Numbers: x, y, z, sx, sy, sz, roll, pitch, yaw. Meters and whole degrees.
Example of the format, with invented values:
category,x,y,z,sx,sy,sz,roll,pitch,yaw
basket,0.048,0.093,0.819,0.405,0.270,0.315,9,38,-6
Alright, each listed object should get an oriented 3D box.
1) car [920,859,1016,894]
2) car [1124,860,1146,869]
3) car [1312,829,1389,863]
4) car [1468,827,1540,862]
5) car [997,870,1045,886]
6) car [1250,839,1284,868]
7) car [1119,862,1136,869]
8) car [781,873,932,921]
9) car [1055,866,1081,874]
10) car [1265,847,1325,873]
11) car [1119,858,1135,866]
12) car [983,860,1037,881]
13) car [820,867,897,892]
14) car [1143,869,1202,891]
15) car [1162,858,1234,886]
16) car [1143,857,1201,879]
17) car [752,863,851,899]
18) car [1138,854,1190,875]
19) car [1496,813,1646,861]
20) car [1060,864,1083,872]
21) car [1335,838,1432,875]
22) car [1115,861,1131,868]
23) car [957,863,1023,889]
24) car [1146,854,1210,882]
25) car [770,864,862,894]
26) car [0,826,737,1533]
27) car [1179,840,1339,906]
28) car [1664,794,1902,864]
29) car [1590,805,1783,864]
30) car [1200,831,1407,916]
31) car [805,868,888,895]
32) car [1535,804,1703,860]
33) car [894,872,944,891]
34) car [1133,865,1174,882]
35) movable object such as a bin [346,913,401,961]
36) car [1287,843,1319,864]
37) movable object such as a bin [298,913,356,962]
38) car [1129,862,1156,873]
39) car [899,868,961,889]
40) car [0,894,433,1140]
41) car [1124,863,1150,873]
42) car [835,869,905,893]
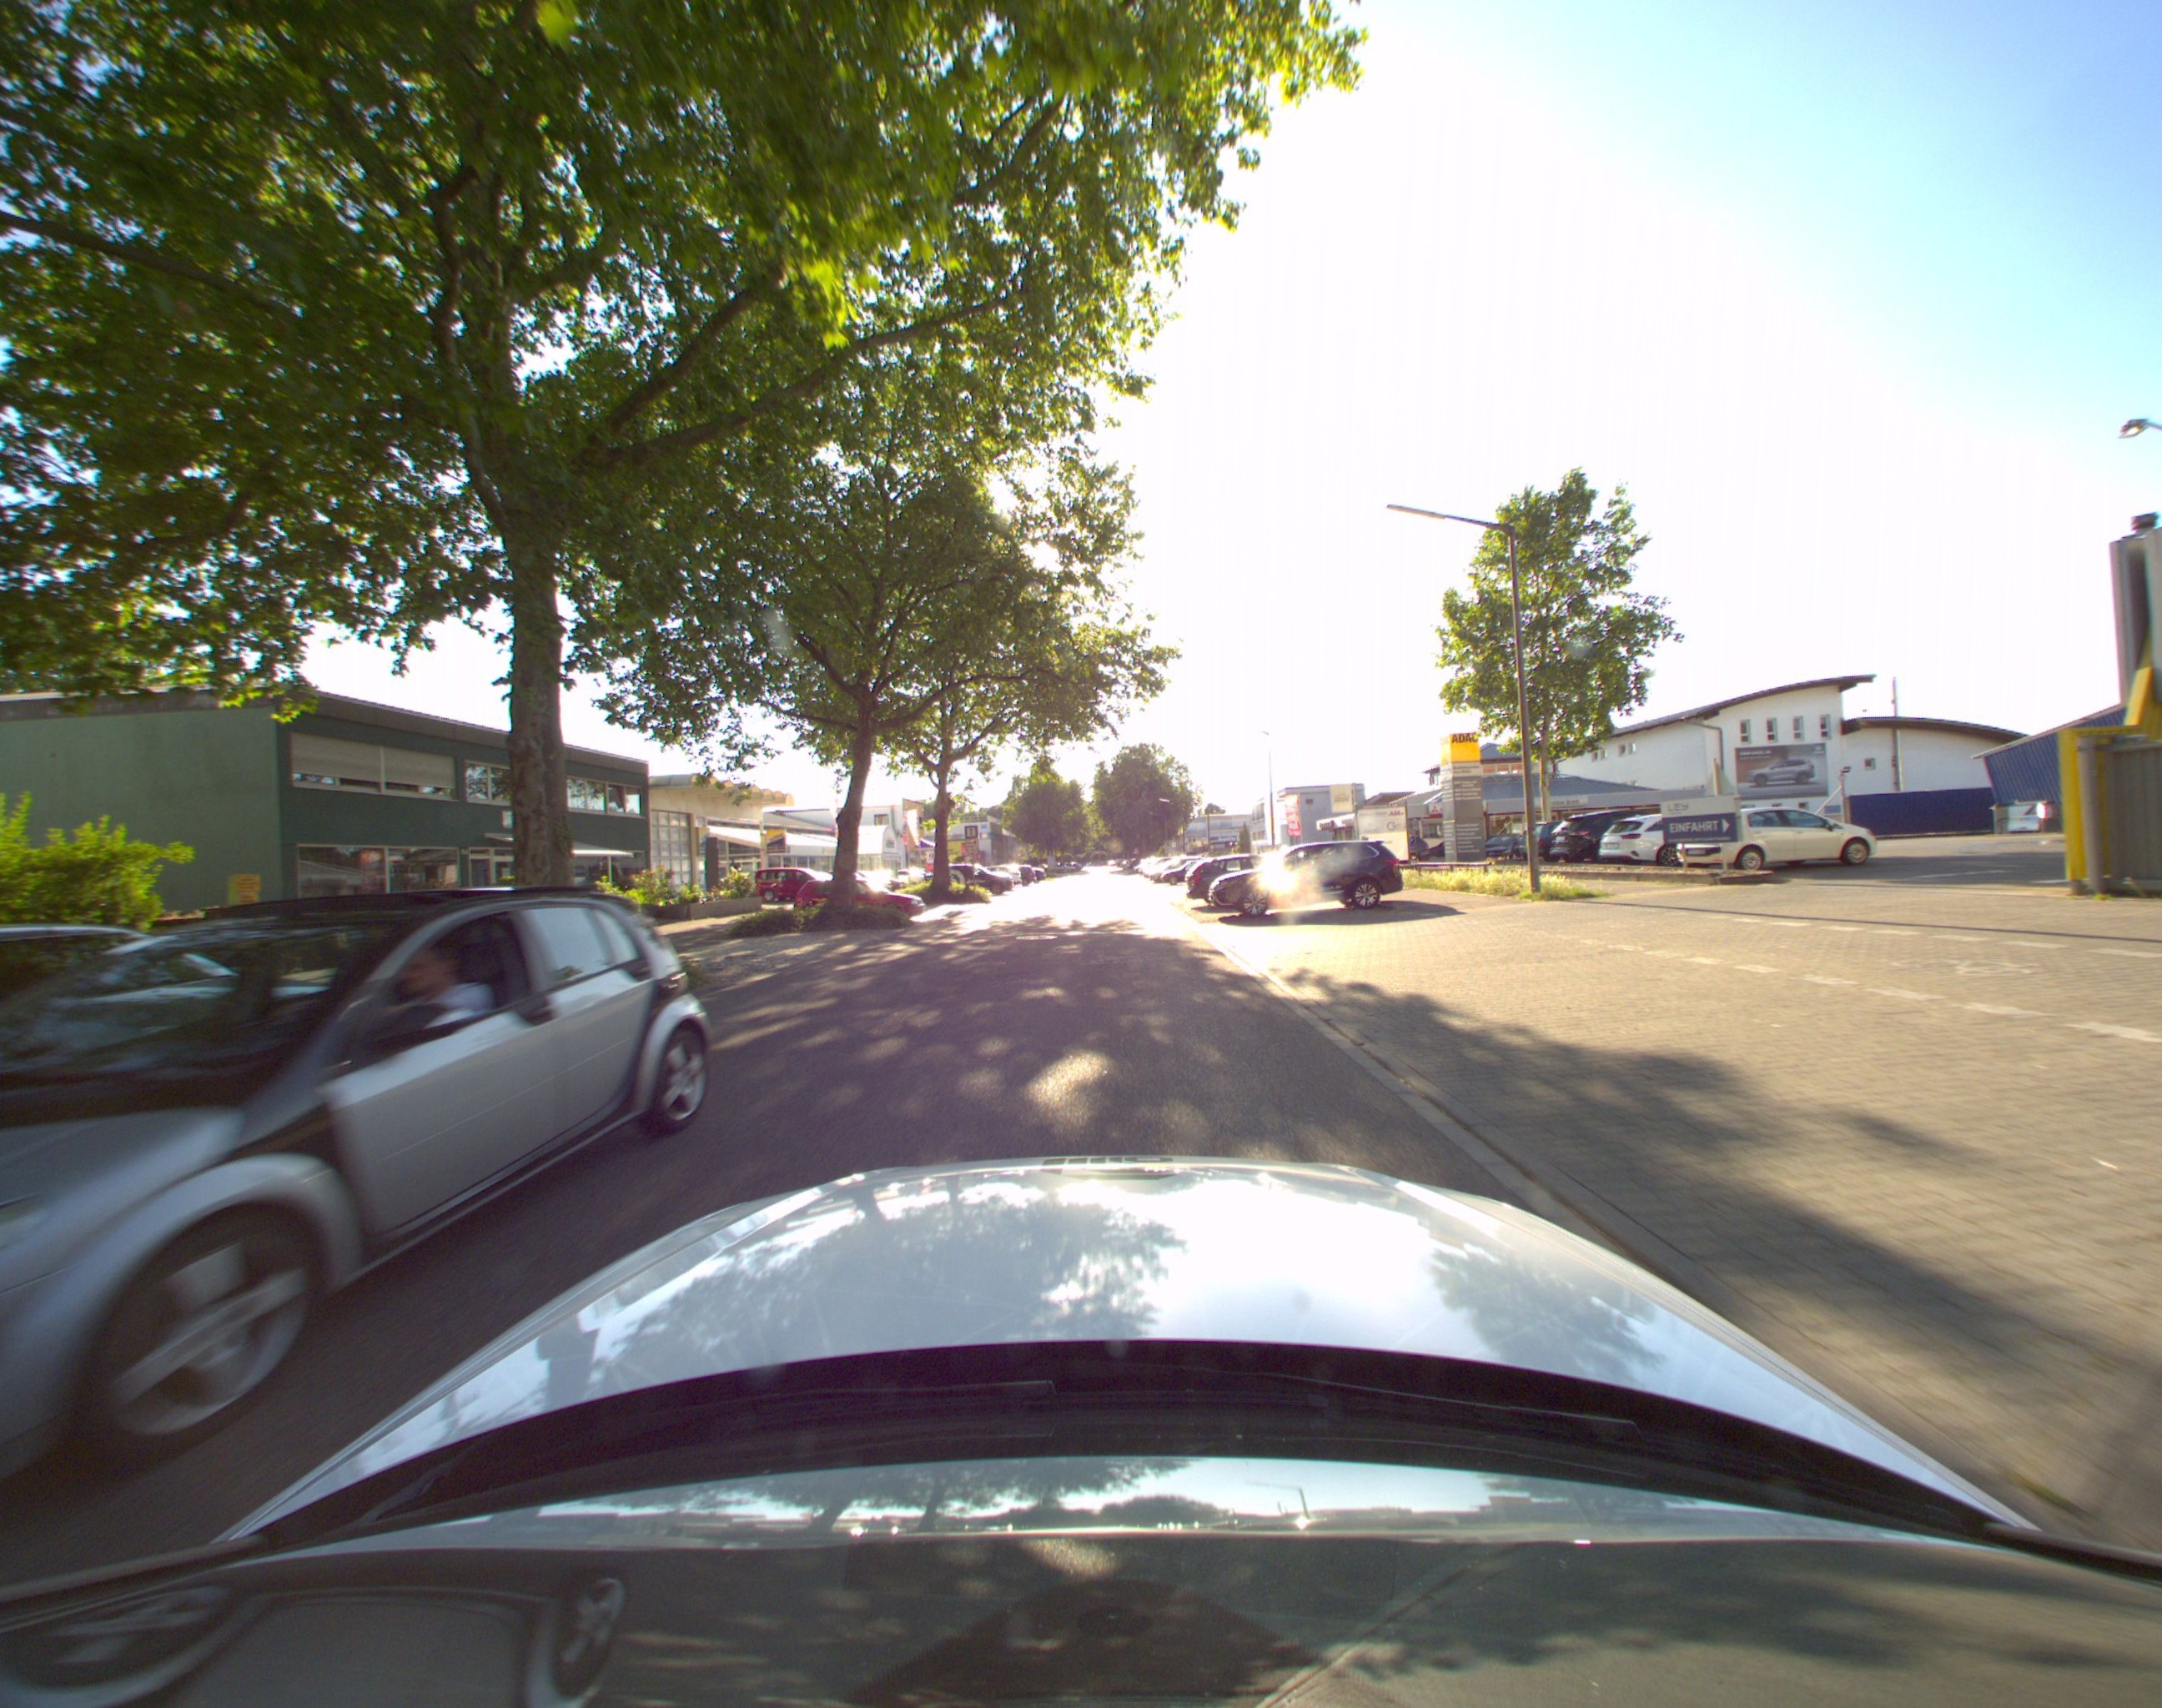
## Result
category,x,y,z,sx,sy,sz,roll,pitch,yaw
car,-6.600,1.324,47.980,5.240,1.899,2.202,-1,-2,1
car,10.094,1.996,152.431,3.972,1.416,1.827,-3,-1,1
car,16.196,-0.508,49.045,3.919,1.898,2.203,-2,2,1
car,22.679,-0.488,43.627,4.020,1.738,1.977,0,-2,-39
car,-5.552,2.217,75.526,4.301,1.460,2.201,-1,-2,-1
car,17.705,0.041,77.907,1.986,2.625,6.139,-1,-1,2
car,10.681,2.642,187.030,3.972,1.416,1.827,-3,-1,1
car,-7.159,1.367,26.310,4.280,1.446,2.000,-1,-2,1
car,-2.175,2.694,136.886,4.406,1.403,1.997,-1,-1,-4
car,17.016,0.481,64.884,4.128,1.771,2.001,-4,-1,2
car,11.373,2.114,202.272,3.972,1.777,1.827,-3,-1,1
car,-5.766,1.364,66.943,4.218,1.656,2.201,-1,-2,-1
car,-14.967,1.712,54.947,4.646,1.592,1.928,-1,-1,0
car,6.925,1.961,61.785,4.233,1.605,1.743,-1,-1,-4
car,6.727,1.035,47.299,3.969,1.296,1.786,-4,-1,4
car,7.285,1.138,65.536,4.421,1.436,2.136,-4,-1,1
car,-15.382,1.482,44.979,4.730,1.820,2.000,-1,-1,0
car,7.698,0.983,76.088,4.542,1.597,2.201,-5,-1,-1
car,16.853,-0.549,28.149,3.977,1.519,1.998,-1,-1,-3
car,-1.812,2.812,160.194,4.397,1.517,2.002,-1,-1,3
car,16.456,0.162,44.532,4.479,1.899,2.202,-1,-2,1
car,10.339,2.649,199.824,3.972,1.416,1.827,-3,-1,1
car,-6.270,1.537,56.340,4.290,1.656,2.201,-1,-2,-1
car,6.472,0.909,54.529,3.977,1.588,1.866,-4,-1,-2
car,-15.495,1.480,47.729,4.698,1.634,2.000,-1,-1,0
car,-3.304,0.821,3.513,1.831,1.571,3.803,-4,-1,2
car,5.563,0.610,25.935,4.584,1.613,2.000,-5,-2,1
car,16.536,-0.554,19.344,3.977,1.497,1.998,-1,-1,-3
car,16.777,-0.513,22.700,3.977,1.519,1.951,-1,-1,-3
car,5.416,0.490,20.381,4.581,1.580,2.002,-5,-2,4
car,-15.064,1.746,52.519,4.703,1.643,2.000,-1,-1,0
car,16.797,-0.672,25.562,3.977,1.595,1.998,-1,-1,-3
car,-14.317,2.412,72.186,3.972,1.556,2.001,-1,-1,2
car,8.397,2.268,94.505,4.512,1.673,1.752,-4,-1,-2
movable object such as a bin,-17.374,2.026,20.019,0.787,1.099,0.636,-1,-1,1
car,21.080,-0.019,77.505,1.986,1.799,4.001,-1,-1,2
movable object such as a bin,-17.922,1.981,19.368,0.787,1.099,0.636,-1,-1,1
car,9.358,2.057,124.197,3.972,1.416,2.001,-3,-1,1
car,-12.927,2.066,69.876,4.928,1.689,1.999,-1,-1,-1
car,-8.026,1.146,6.174,4.583,1.422,2.001,-2,0,1
car,9.024,2.226,131.551,3.972,1.416,1.827,-3,-1,1
car,-14.897,1.903,57.579,4.449,1.553,1.836,-1,-1,0
